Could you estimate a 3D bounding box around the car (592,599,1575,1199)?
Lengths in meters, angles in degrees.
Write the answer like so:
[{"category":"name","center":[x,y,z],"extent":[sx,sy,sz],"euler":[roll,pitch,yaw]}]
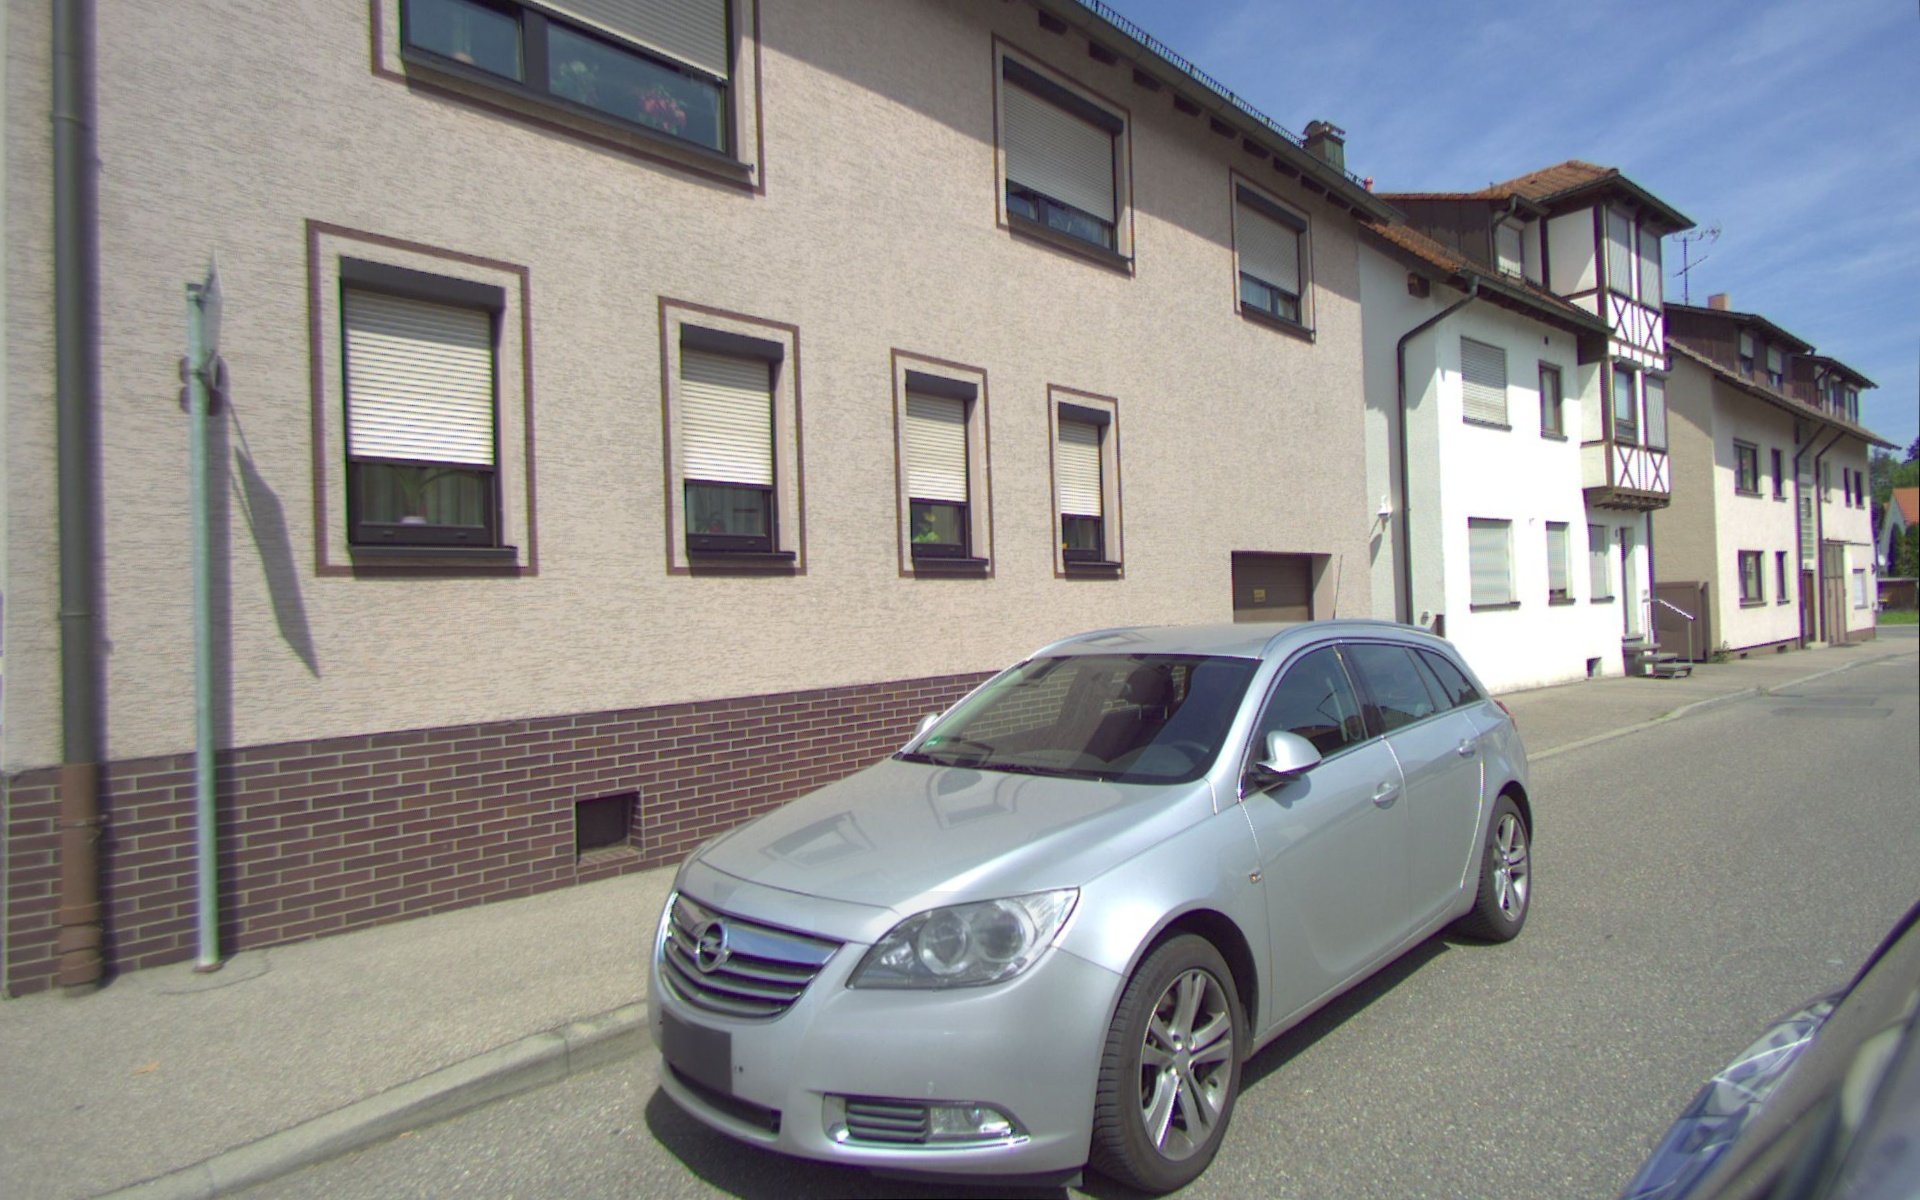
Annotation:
[{"category":"car","center":[0.931,0.783,4.192],"extent":[1.785,1.460,4.267],"euler":[-5,-3,44]}]
